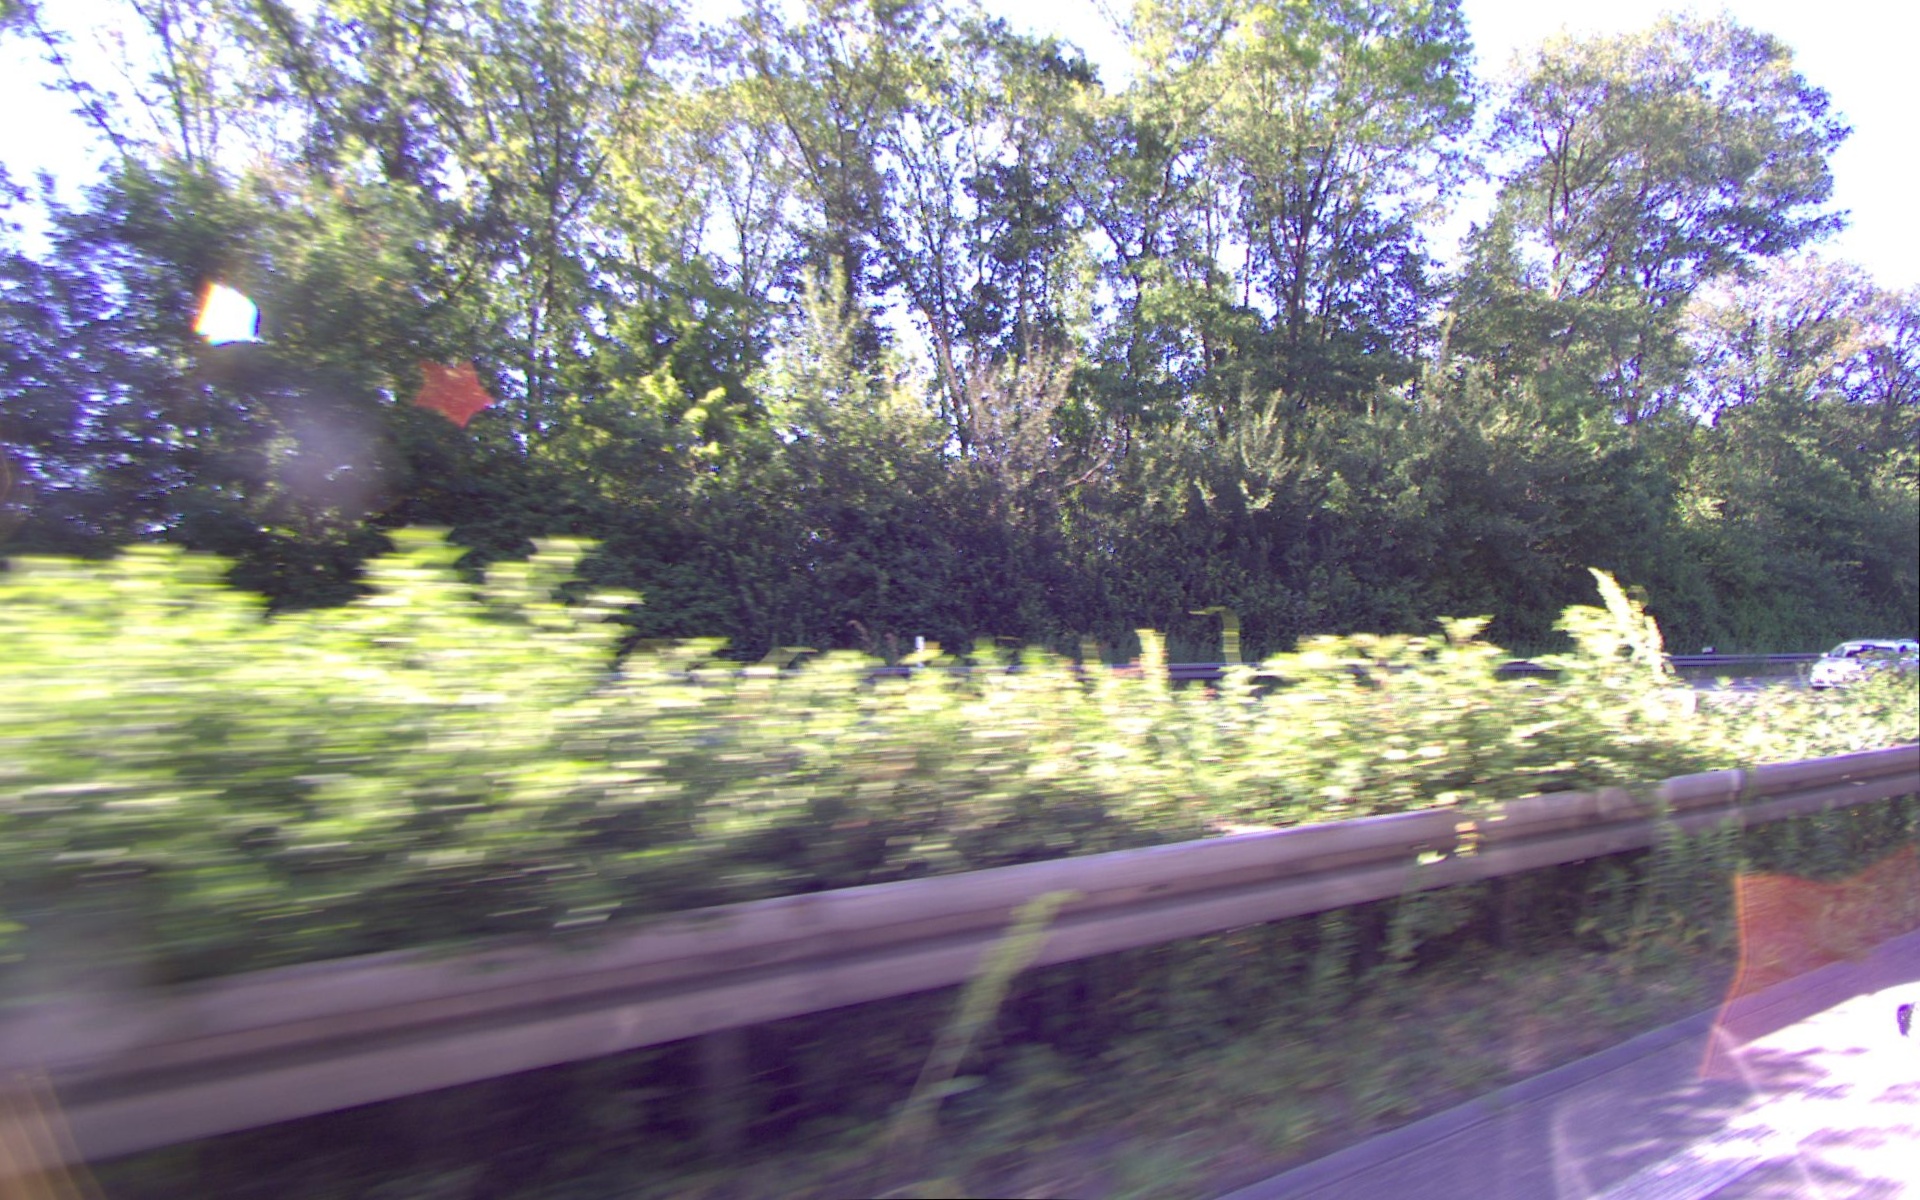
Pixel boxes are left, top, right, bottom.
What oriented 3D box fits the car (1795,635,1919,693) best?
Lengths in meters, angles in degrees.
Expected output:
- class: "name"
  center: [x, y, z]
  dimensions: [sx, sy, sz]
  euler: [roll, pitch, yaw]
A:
- class: "car"
  center: [25.413, 1.727, 28.074]
  dimensions: [4.291, 1.468, 1.983]
  euler: [1, -1, -32]
